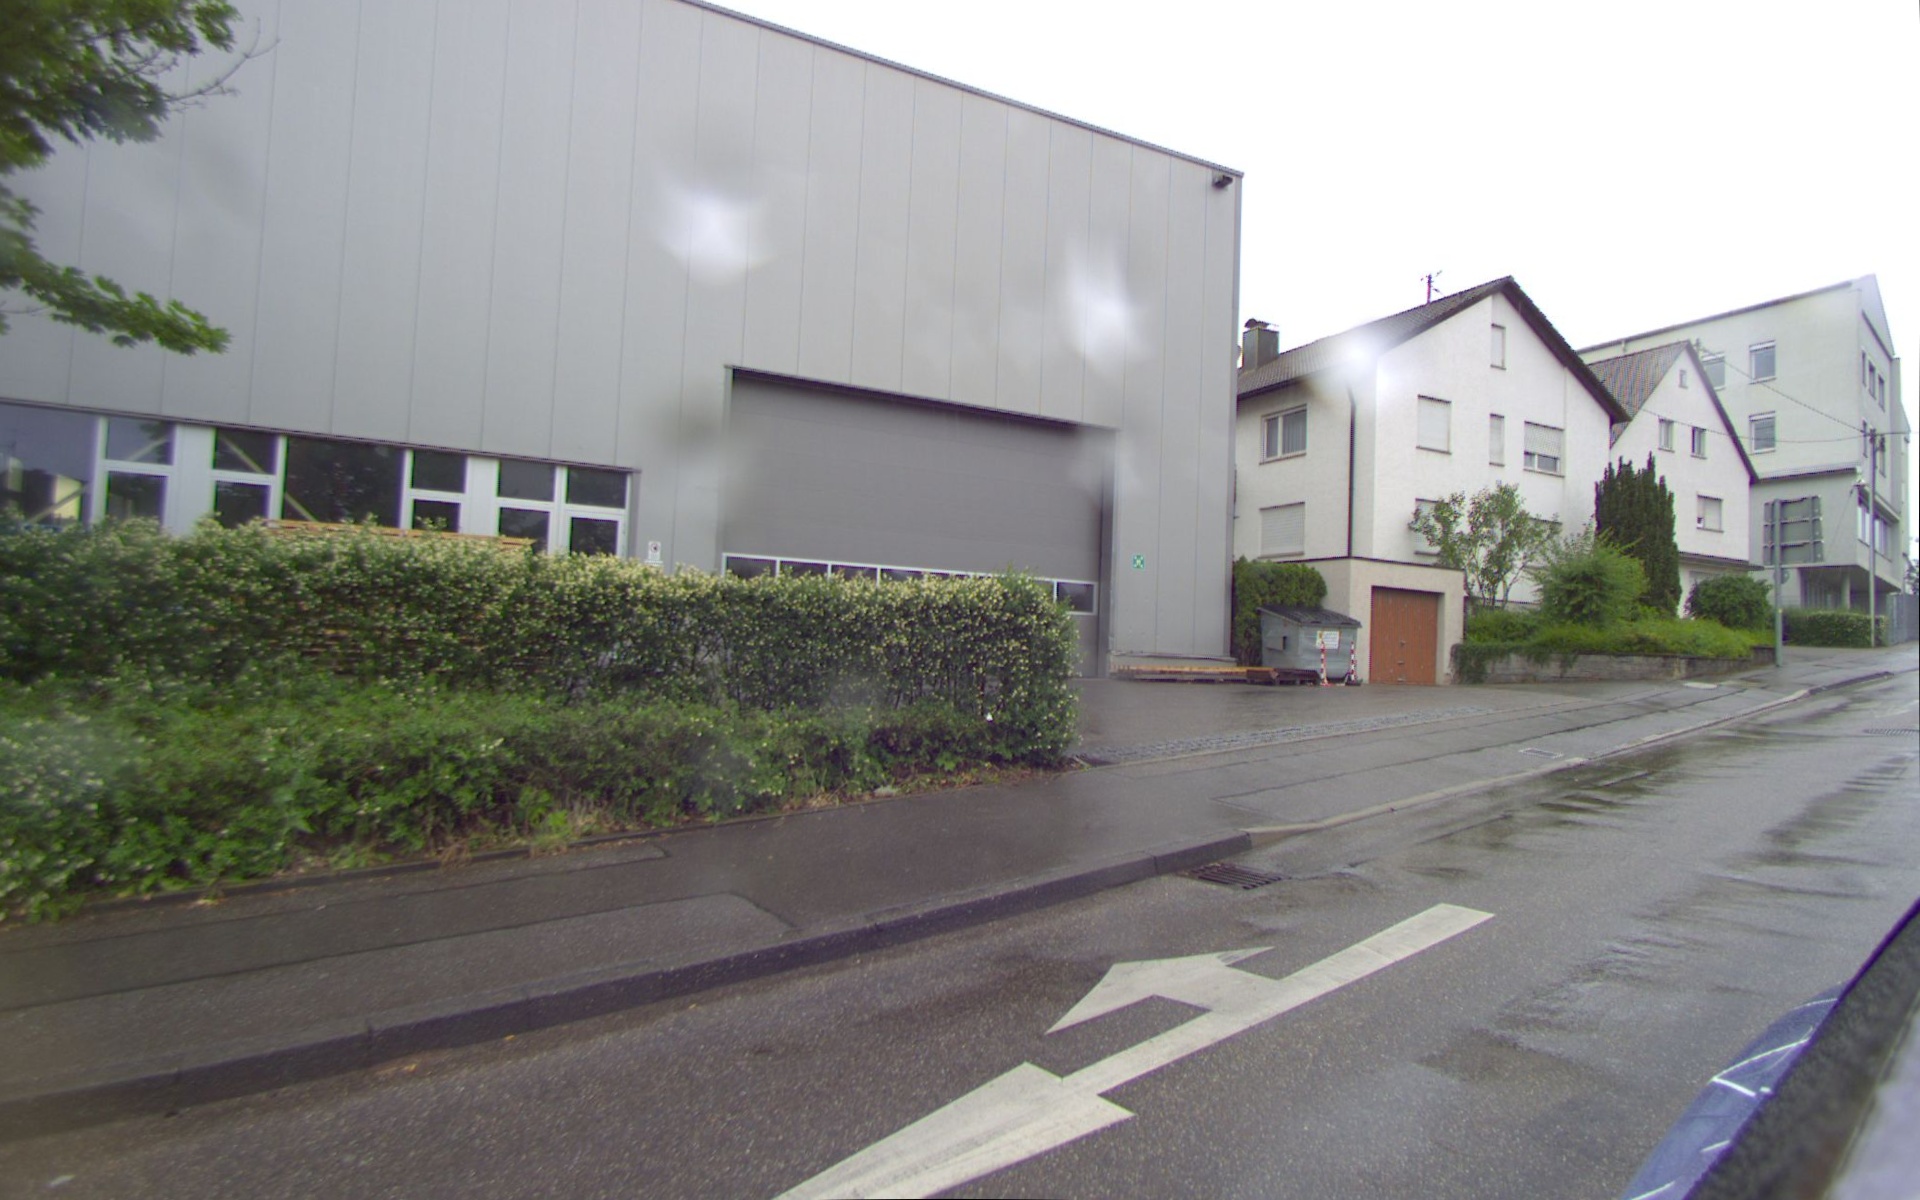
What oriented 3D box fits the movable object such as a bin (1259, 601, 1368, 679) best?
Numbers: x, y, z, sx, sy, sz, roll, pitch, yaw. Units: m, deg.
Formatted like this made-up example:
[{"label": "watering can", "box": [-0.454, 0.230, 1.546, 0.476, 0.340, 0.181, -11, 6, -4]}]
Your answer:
[{"label": "movable object such as a bin", "box": [7.409, 0.822, 21.242, 1.742, 1.537, 1.268, 1, 0, -25]}]
